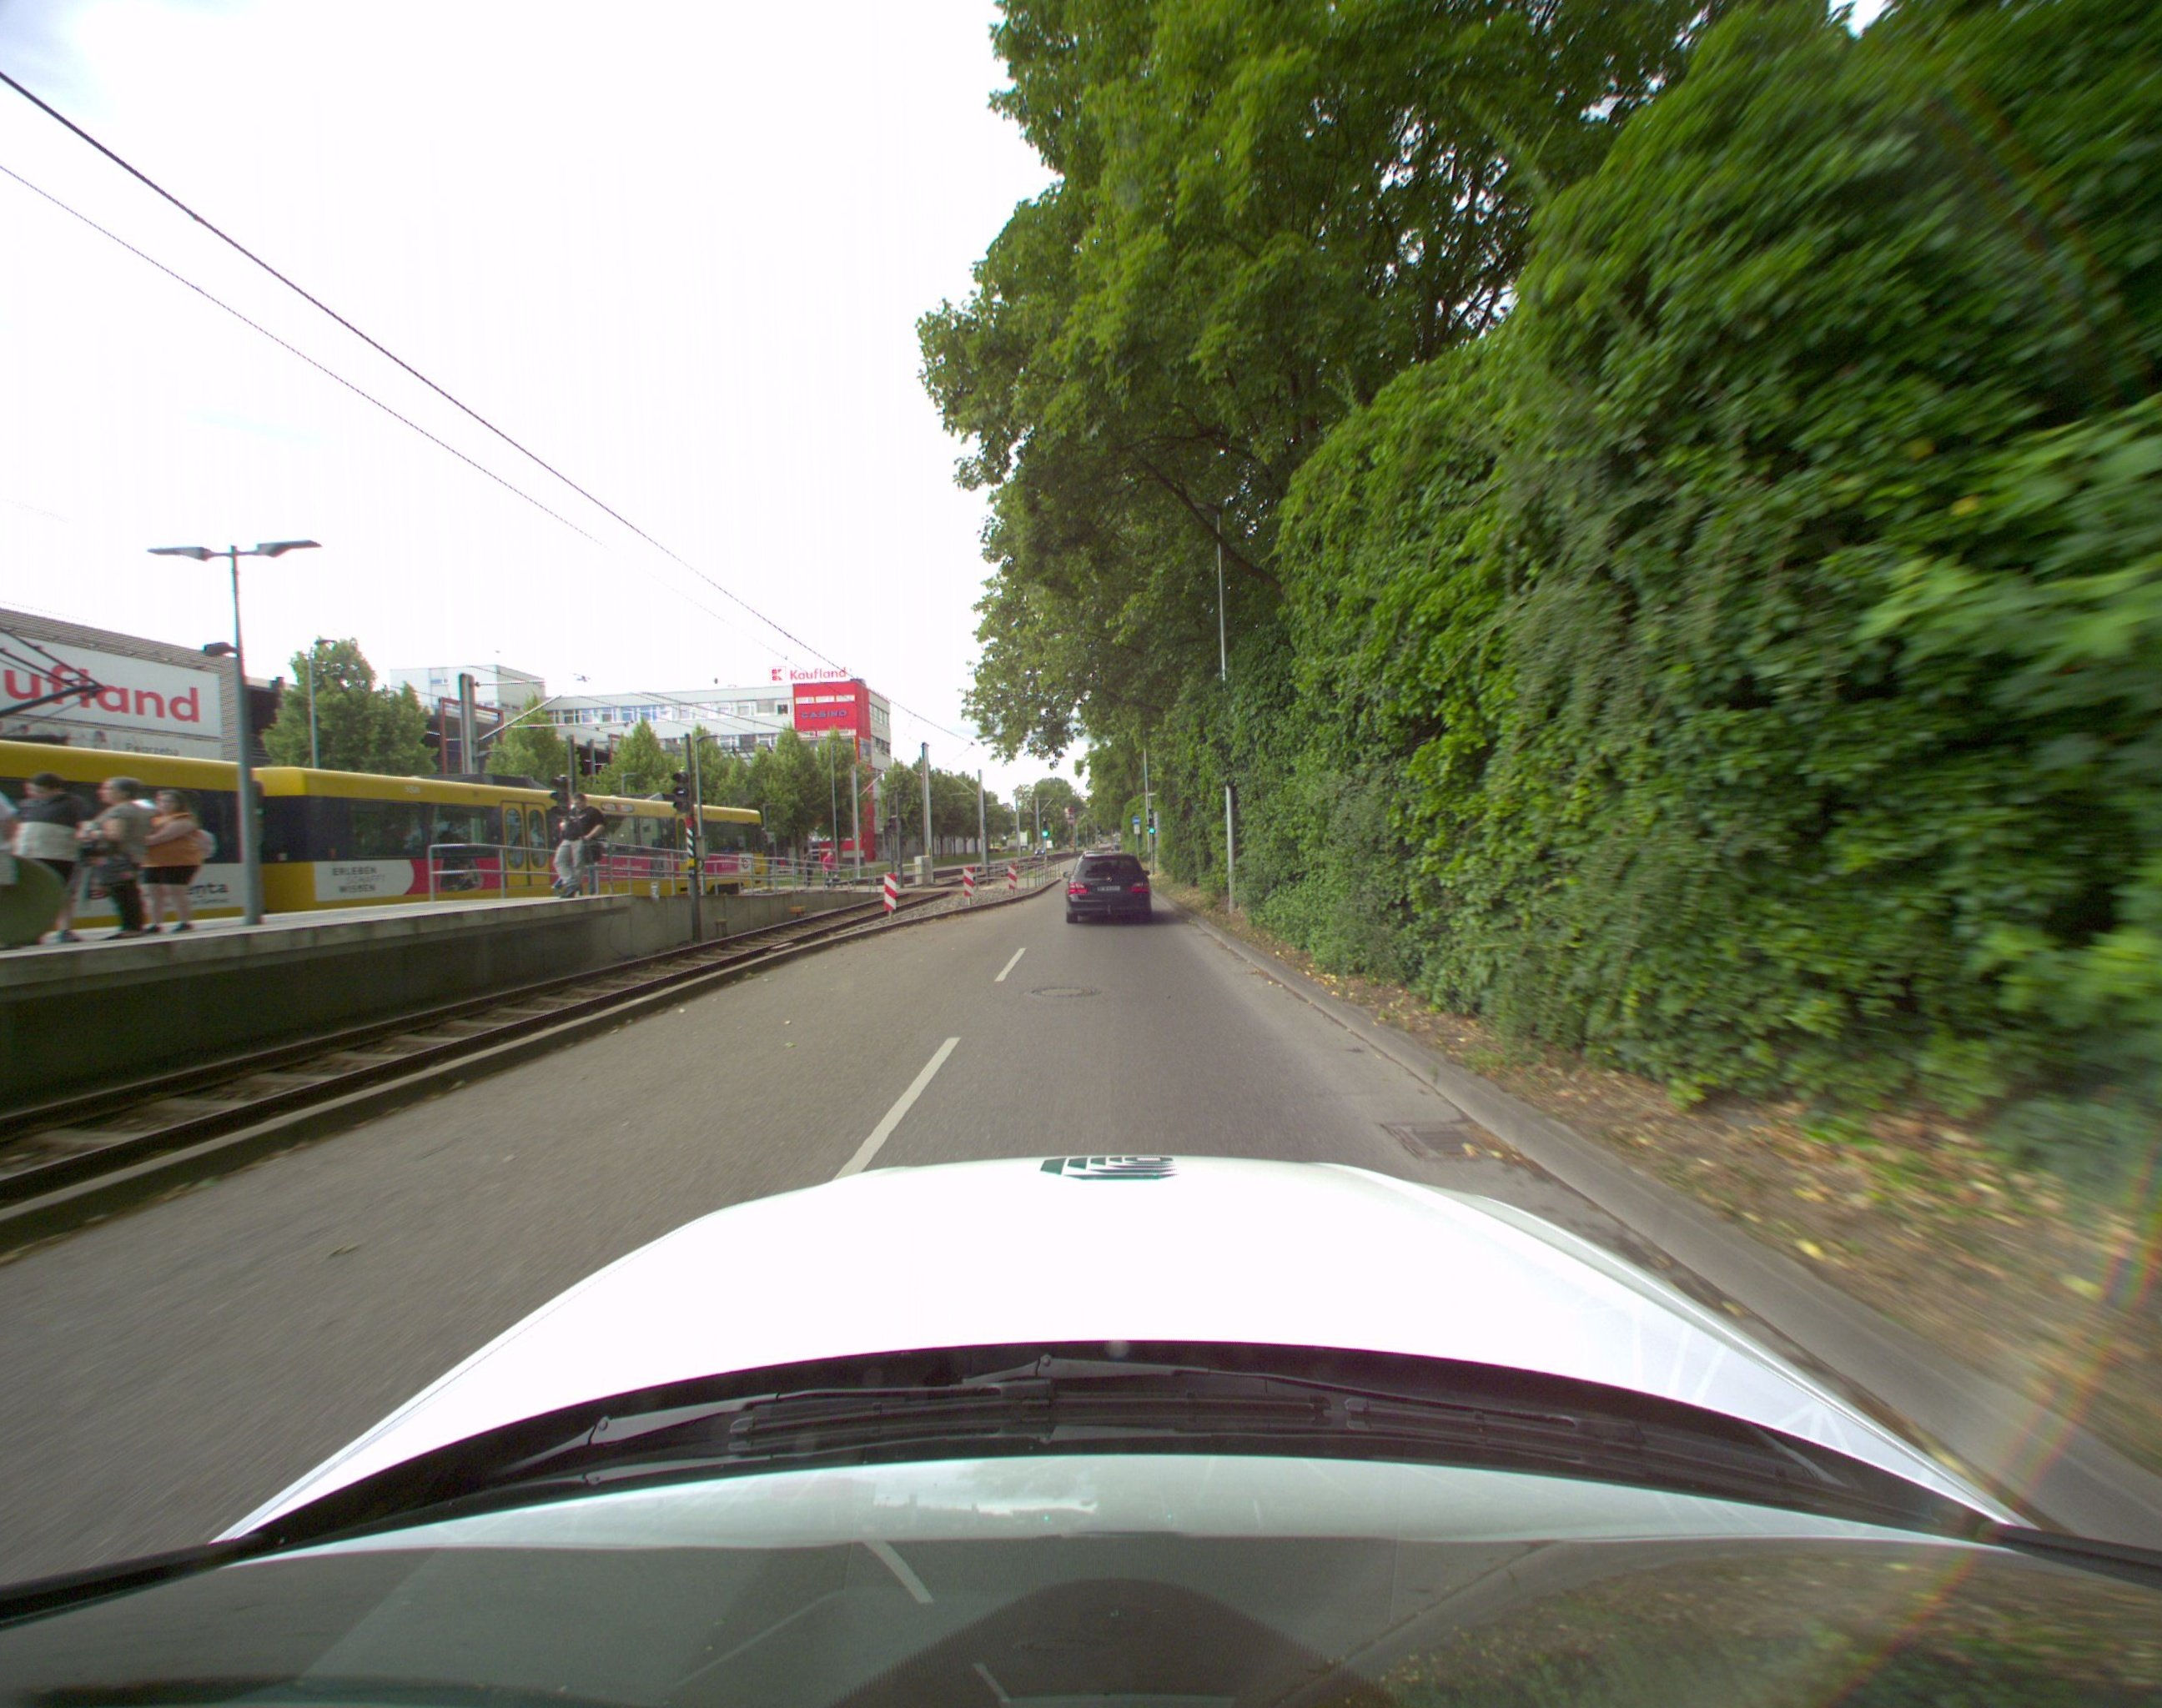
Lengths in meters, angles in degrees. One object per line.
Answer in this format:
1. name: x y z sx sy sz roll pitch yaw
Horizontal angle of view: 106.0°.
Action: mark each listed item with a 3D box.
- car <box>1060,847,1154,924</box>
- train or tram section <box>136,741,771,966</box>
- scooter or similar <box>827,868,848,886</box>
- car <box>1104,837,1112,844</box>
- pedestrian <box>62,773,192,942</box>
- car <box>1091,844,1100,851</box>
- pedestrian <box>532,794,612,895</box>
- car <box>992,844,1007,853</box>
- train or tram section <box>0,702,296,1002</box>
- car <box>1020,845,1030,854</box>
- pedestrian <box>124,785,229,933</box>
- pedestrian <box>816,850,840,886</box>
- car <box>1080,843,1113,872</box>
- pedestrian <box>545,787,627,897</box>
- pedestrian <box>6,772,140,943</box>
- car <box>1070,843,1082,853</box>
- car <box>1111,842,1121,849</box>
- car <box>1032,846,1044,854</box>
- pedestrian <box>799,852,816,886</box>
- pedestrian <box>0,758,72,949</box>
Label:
1. car: 0.609 0.612 18.254 1.826 1.478 4.419 -1 0 2
2. train or tram section: -14.528 -0.111 23.532 2.744 3.828 18.651 -2 1 4
3. scooter or similar: -11.361 1.052 38.069 0.491 0.768 0.803 -4 0 23
4. car: 7.564 -3.762 228.782 1.884 2.013 3.900 -4 0 2
5. pedestrian: -8.705 0.030 7.454 0.359 1.464 0.639 -2 0 1
6. car: 3.204 -1.494 183.983 1.817 1.530 3.990 -1 1 3
7. pedestrian: -8.872 -0.166 14.232 0.768 1.678 0.791 -4 0 1
8. car: -16.474 -1.177 164.325 1.983 1.743 4.996 -3 1 6
9. train or tram section: -15.680 0.094 4.910 2.744 3.882 18.650 -2 1 4
10. car: -13.417 -1.032 194.691 1.986 2.013 4.002 -4 0 1
11. pedestrian: -8.938 0.046 8.061 0.477 1.405 0.411 -4 0 0
12. pedestrian: -11.885 0.651 38.319 0.607 1.654 0.800 -4 0 23
13. car: 0.927 0.182 48.340 1.819 1.530 4.417 -2 1 1
14. pedestrian: -7.885 -0.192 12.969 0.881 1.678 0.736 -4 0 -45
15. pedestrian: -9.186 0.029 7.436 0.472 1.483 0.544 -4 0 10
16. car: -0.832 -1.037 139.943 1.817 1.530 3.931 -1 1 3
17. car: 7.268 -1.755 168.082 1.817 1.530 4.420 -2 1 3
18. car: -8.220 -0.720 156.998 1.651 1.393 3.726 -2 1 7
19. pedestrian: -13.653 0.731 40.612 0.513 1.662 0.467 -4 0 12
20. pedestrian: -8.558 0.007 6.486 0.514 1.482 0.585 -4 0 40
